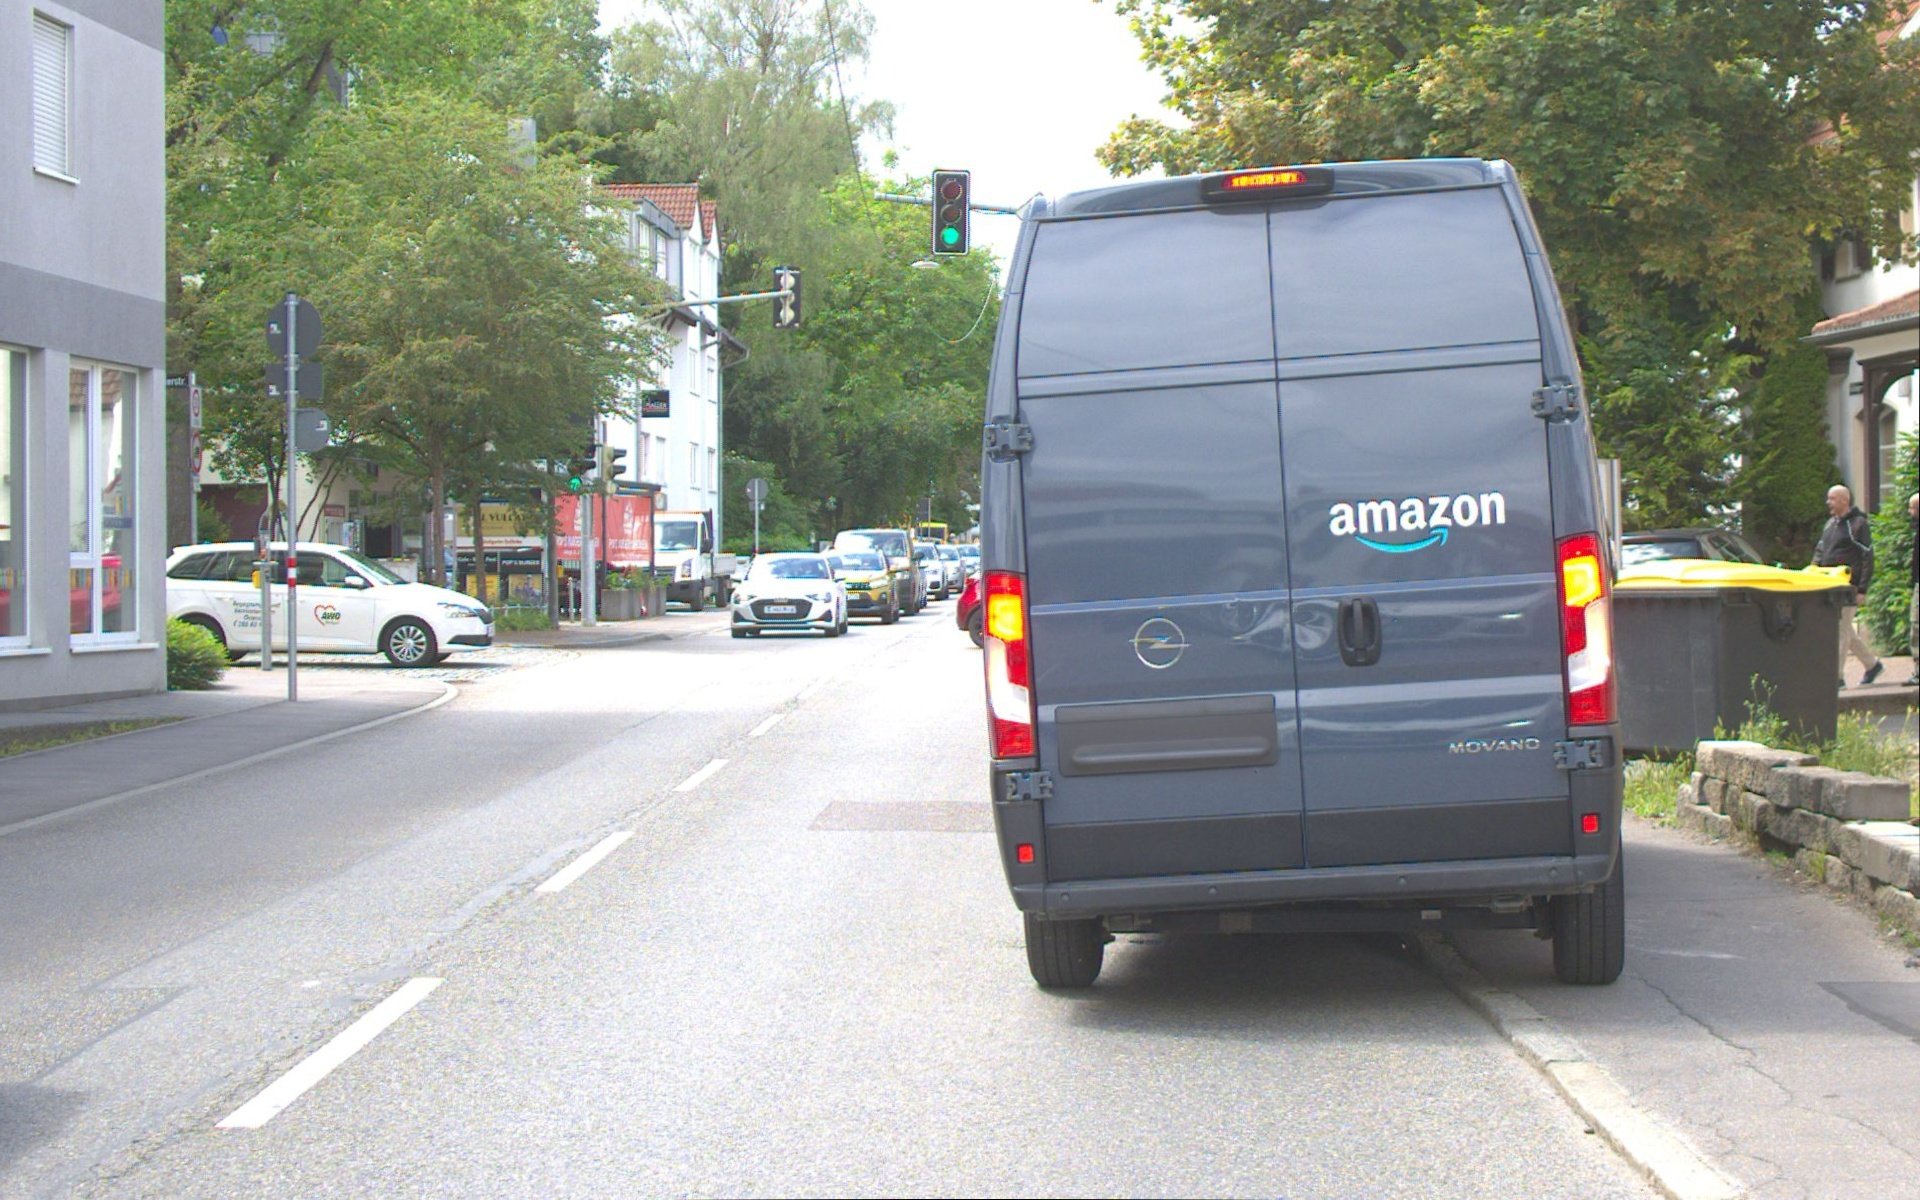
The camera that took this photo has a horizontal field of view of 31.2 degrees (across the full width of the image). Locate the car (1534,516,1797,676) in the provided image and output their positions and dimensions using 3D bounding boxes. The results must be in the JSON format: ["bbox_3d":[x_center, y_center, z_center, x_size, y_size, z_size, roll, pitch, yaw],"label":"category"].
[{"bbox_3d":[7.770,-0.076,37.595,1.754,1.512,4.073,-3,1,27],"label":"car"}]

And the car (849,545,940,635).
[{"bbox_3d":[-1.437,-0.262,76.884,1.877,1.906,4.752,1,1,1],"label":"car"}]

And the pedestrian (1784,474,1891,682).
[{"bbox_3d":[7.630,-0.201,29.883,0.741,1.776,0.898,1,1,24],"label":"pedestrian"}]

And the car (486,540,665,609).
[{"bbox_3d":[-8.314,-0.563,74.558,3.692,1.420,1.805,1,1,-1],"label":"car"}]

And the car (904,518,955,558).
[{"bbox_3d":[-1.577,-3.202,178.117,2.146,1.974,4.930,1,0,5],"label":"car"}]

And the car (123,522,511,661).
[{"bbox_3d":[-7.571,-0.119,40.740,4.212,1.508,1.822,1,2,2],"label":"car"}]

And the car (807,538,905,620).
[{"bbox_3d":[-2.053,-0.443,68.784,1.728,1.532,4.000,1,2,1],"label":"car"}]

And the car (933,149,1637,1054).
[{"bbox_3d":[1.472,-0.051,13.737,2.148,2.761,6.247,1,1,9],"label":"car"}]

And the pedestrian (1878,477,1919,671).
[{"bbox_3d":[8.336,-0.223,29.260,0.786,1.637,0.796,1,1,32],"label":"pedestrian"}]

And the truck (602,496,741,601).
[{"bbox_3d":[-6.806,-1.192,81.858,2.225,2.372,6.324,1,0,5],"label":"truck"}]

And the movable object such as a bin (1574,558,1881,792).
[{"bbox_3d":[4.339,0.401,19.477,1.182,1.261,1.210,0,1,-29],"label":"movable object such as a bin"}]

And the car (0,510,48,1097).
[{"bbox_3d":[-3.519,0.607,7.138,1.897,1.554,4.801,-2,1,0],"label":"car"}]

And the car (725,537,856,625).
[{"bbox_3d":[-2.857,-0.347,58.628,1.874,1.419,4.115,1,1,2],"label":"car"}]
